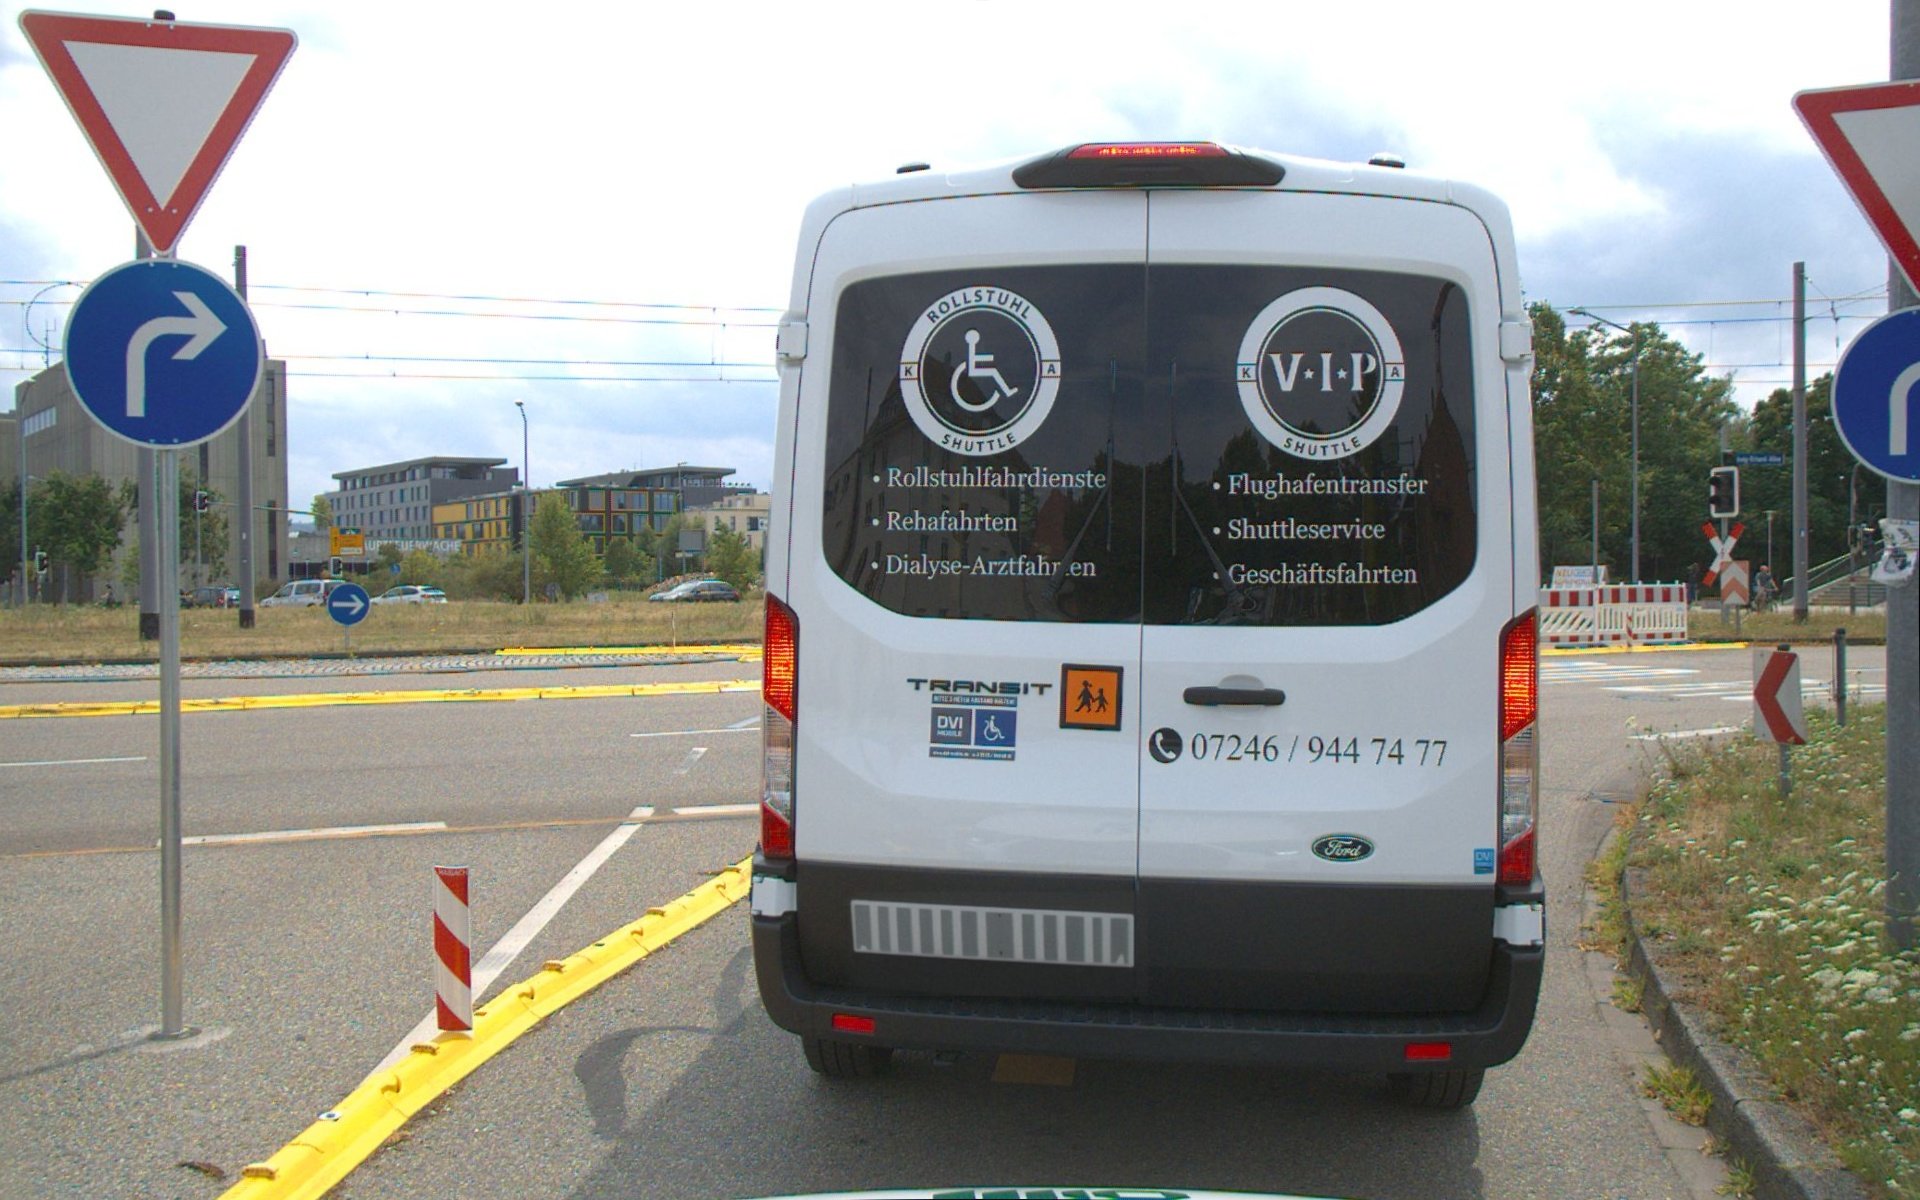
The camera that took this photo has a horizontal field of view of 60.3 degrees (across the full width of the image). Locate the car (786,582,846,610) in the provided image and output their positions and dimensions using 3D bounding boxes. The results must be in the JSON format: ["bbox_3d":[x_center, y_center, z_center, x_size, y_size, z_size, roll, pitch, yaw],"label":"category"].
[{"bbox_3d":[-7.855,-0.232,90.496,1.789,1.489,4.001,0,0,20],"label":"car"}]

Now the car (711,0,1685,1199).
[{"bbox_3d":[0.782,0.008,6.403,2.081,2.744,5.636,0,1,6],"label":"car"}]

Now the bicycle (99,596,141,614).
[{"bbox_3d":[-41.814,0.244,82.376,1.803,0.892,0.527,-1,1,-22],"label":"bicycle"}]

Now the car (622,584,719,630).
[{"bbox_3d":[-13.328,0.329,76.211,3.955,2.049,1.975,1,-1,-36],"label":"car"}]

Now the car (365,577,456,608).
[{"bbox_3d":[-26.644,-0.358,80.149,3.904,1.489,1.833,0,-1,21],"label":"car"}]

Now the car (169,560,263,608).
[{"bbox_3d":[-32.727,-0.688,72.758,3.917,2.049,1.994,0,-1,34],"label":"car"}]

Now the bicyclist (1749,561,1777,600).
[{"bbox_3d":[27.557,-0.675,56.768,0.625,1.340,0.675,0,1,0],"label":"bicyclist"}]

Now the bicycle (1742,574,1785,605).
[{"bbox_3d":[27.546,-0.375,56.740,0.638,1.024,1.757,0,1,1],"label":"bicycle"}]

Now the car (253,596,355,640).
[{"bbox_3d":[-30.701,0.830,77.380,4.259,2.049,1.999,0,-1,23],"label":"car"}]

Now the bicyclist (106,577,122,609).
[{"bbox_3d":[-42.075,-0.346,82.269,0.639,1.585,0.527,-1,1,-21],"label":"bicyclist"}]
